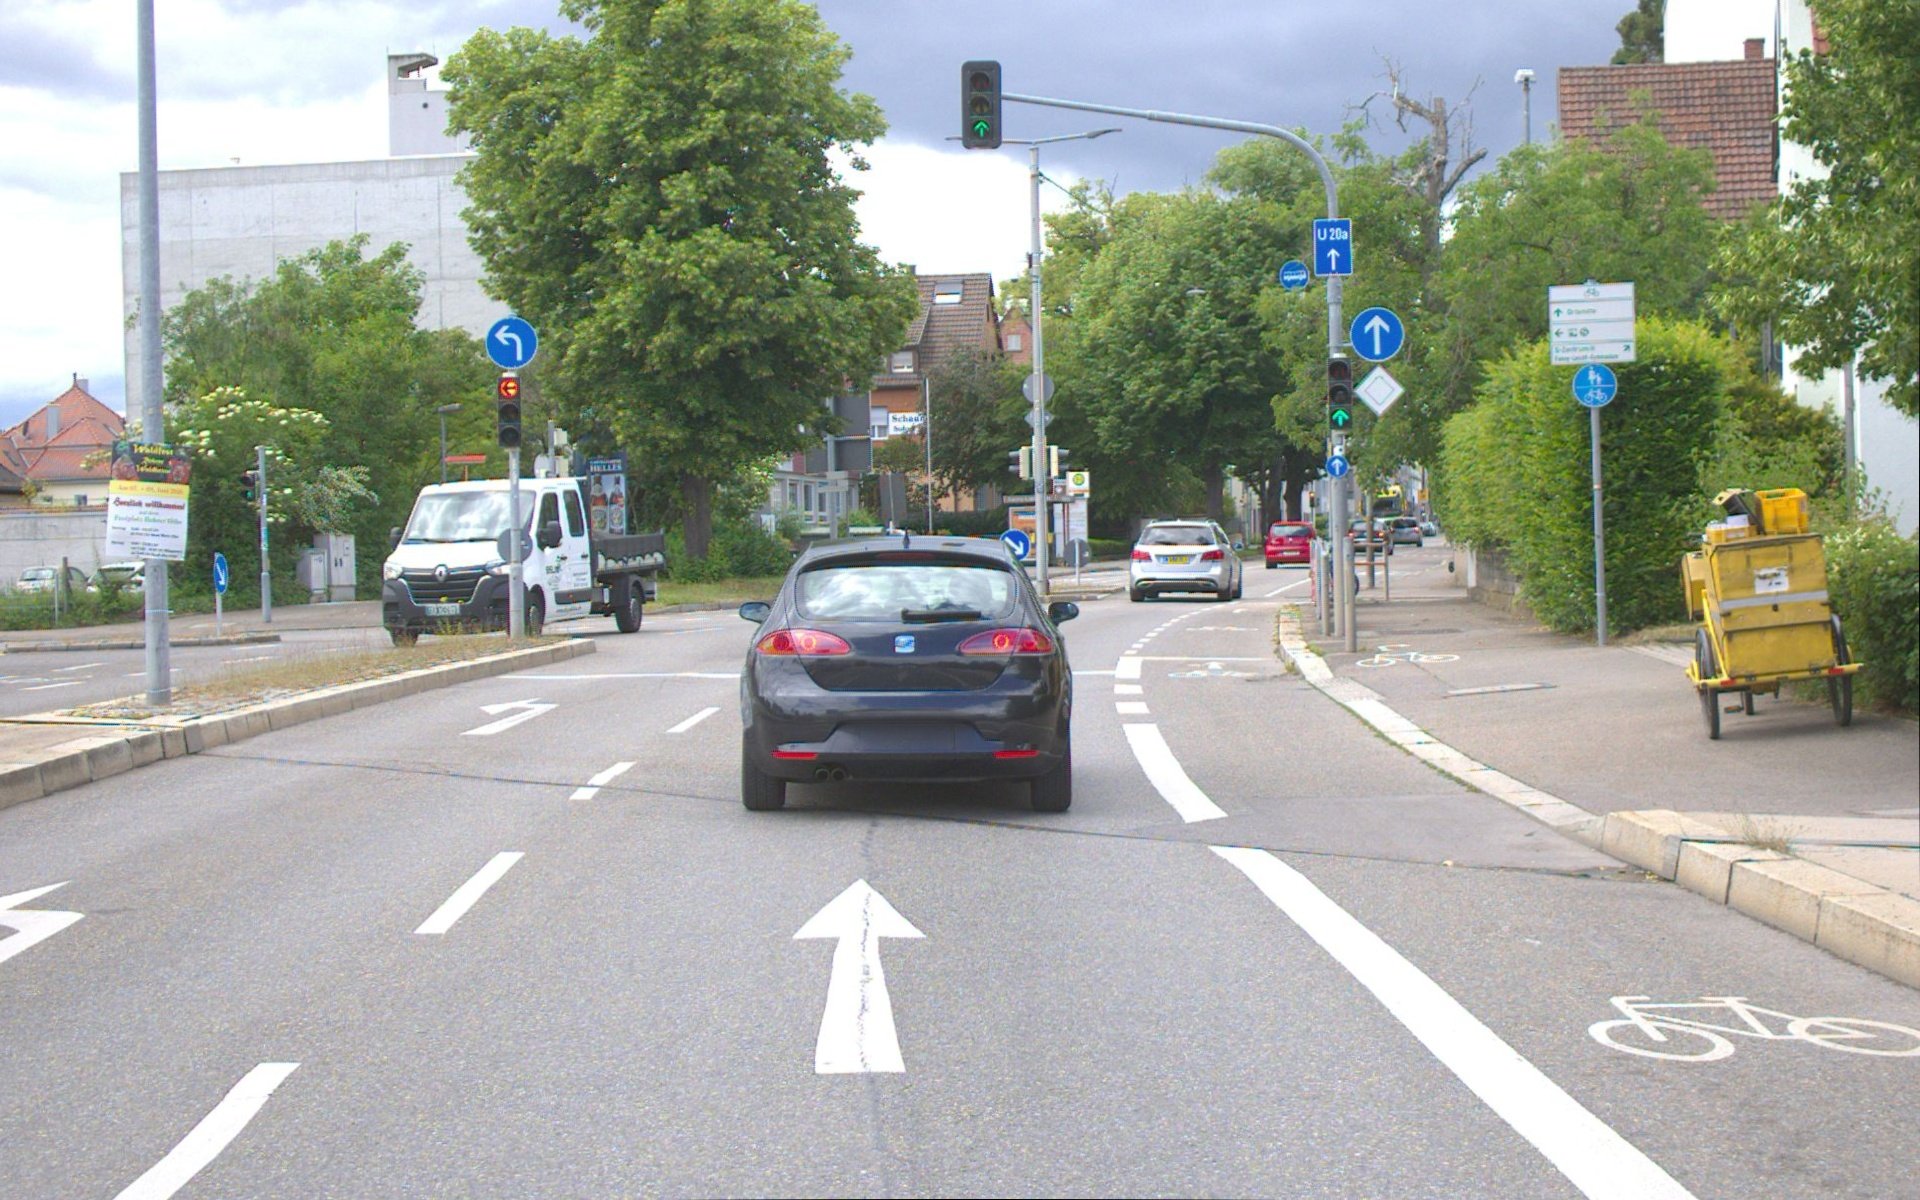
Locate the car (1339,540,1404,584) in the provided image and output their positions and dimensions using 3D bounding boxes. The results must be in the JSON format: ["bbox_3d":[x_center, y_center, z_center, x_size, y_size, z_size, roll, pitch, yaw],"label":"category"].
[{"bbox_3d":[16.657,-1.564,139.055,1.995,1.678,3.997,-1,1,15],"label":"car"}]

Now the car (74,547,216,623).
[{"bbox_3d":[-22.461,-0.440,94.917,1.995,2.007,3.996,1,1,18],"label":"car"}]

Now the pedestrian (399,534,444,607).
[{"bbox_3d":[-11.284,-0.621,72.087,0.655,1.517,0.923,-1,1,7],"label":"pedestrian"}]

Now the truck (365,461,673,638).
[{"bbox_3d":[-6.073,-0.742,48.396,2.126,2.257,6.803,-2,1,12],"label":"truck"}]

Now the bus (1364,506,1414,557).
[{"bbox_3d":[27.175,-4.375,217.757,2.869,3.125,6.395,-1,1,9],"label":"bus"}]

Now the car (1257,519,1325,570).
[{"bbox_3d":[10.329,-1.749,107.151,1.942,1.476,4.252,-2,2,7],"label":"car"}]

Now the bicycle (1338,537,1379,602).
[{"bbox_3d":[6.427,-0.496,55.346,0.628,1.025,1.504,-1,1,7],"label":"bicycle"}]

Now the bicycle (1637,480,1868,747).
[{"bbox_3d":[4.982,0.041,21.807,0.891,1.505,2.783,-5,1,5],"label":"bicycle"}]

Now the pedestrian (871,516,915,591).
[{"bbox_3d":[-1.316,-0.922,67.428,0.773,1.402,0.601,3,4,-4],"label":"pedestrian"}]

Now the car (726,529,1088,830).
[{"bbox_3d":[-0.198,0.356,18.957,1.759,1.444,3.714,1,2,3],"label":"car"}]

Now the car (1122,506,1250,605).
[{"bbox_3d":[4.225,-0.851,63.674,1.820,1.693,4.251,-2,2,11],"label":"car"}]

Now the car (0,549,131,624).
[{"bbox_3d":[-25.180,-0.389,96.252,1.995,2.007,3.996,1,1,18],"label":"car"}]

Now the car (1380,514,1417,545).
[{"bbox_3d":[23.315,-3.769,182.723,1.849,1.590,4.105,-1,1,8],"label":"car"}]
